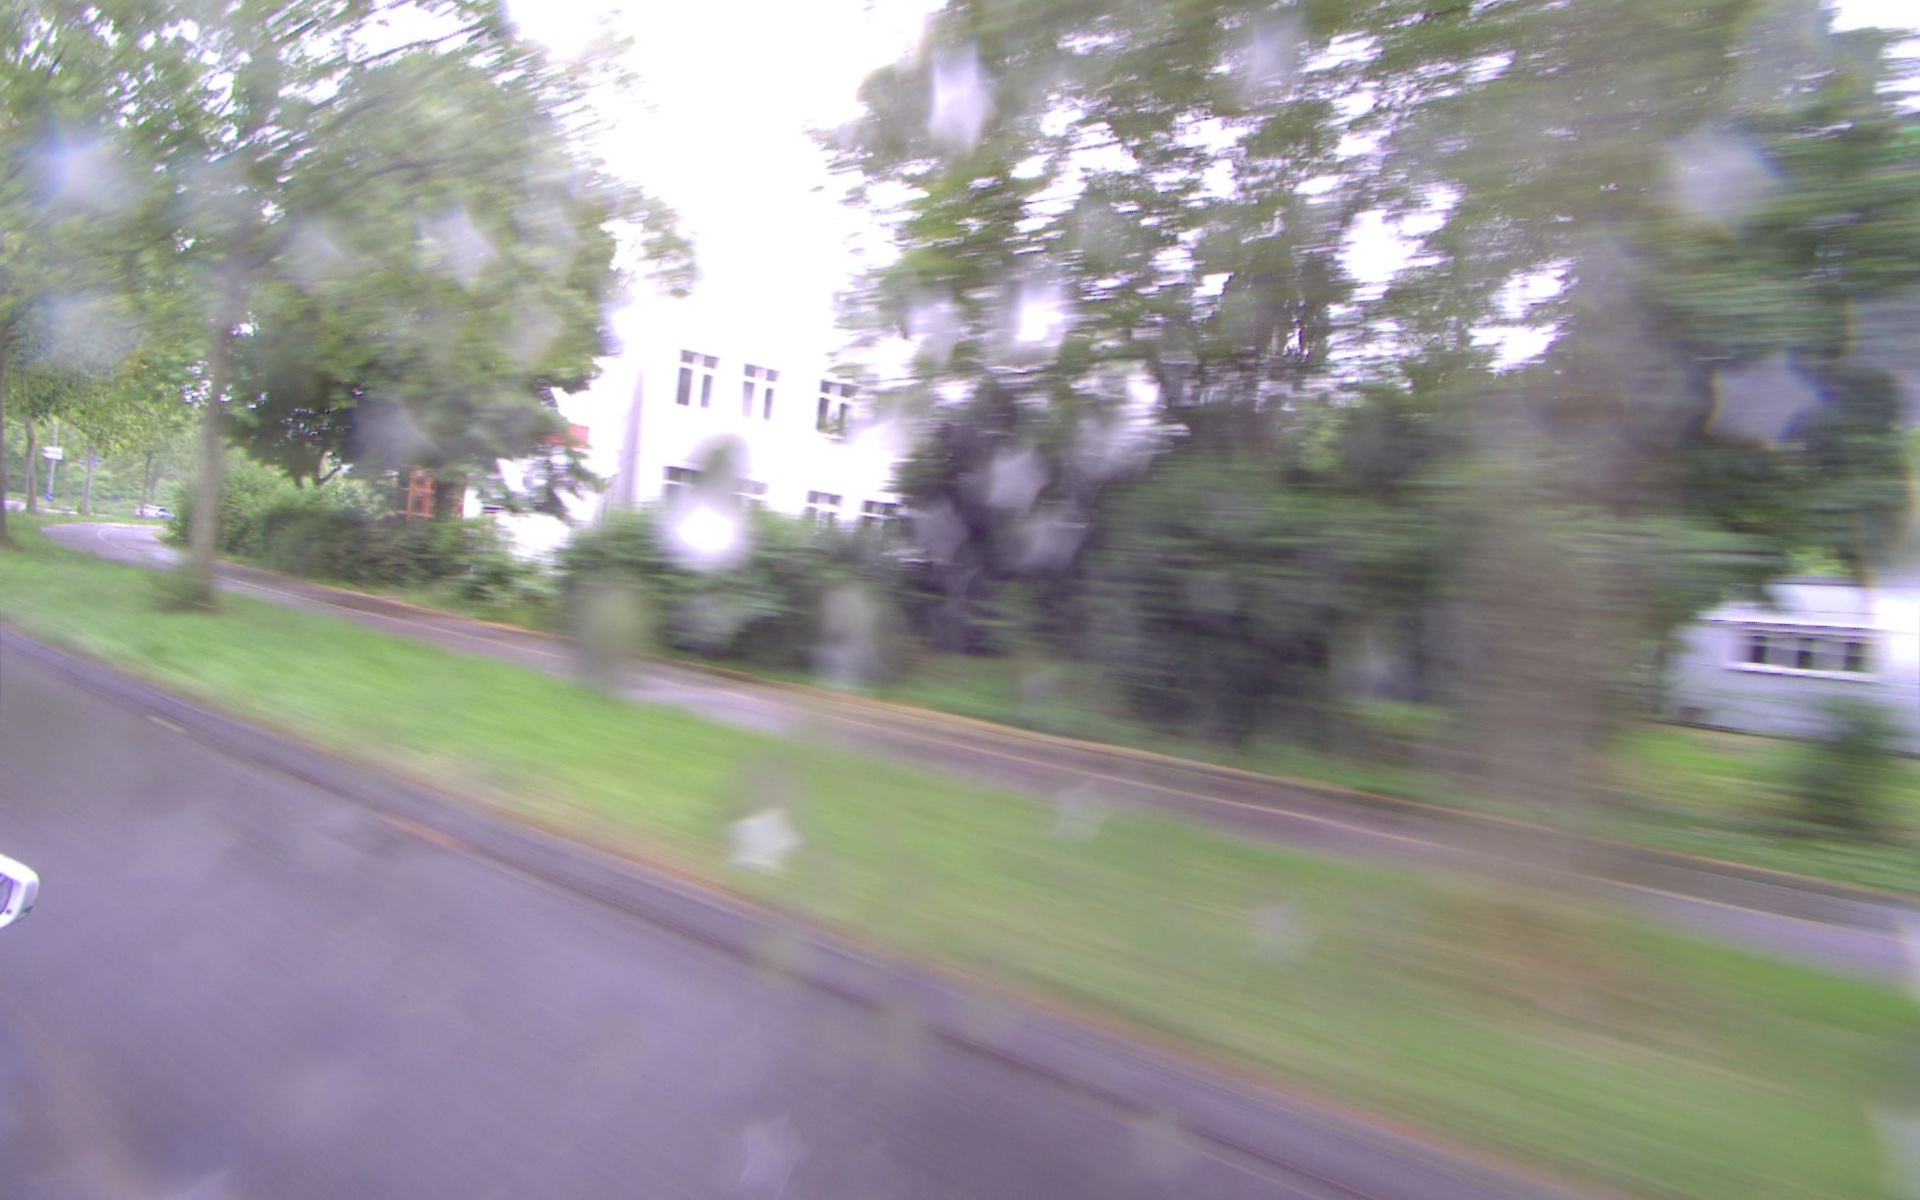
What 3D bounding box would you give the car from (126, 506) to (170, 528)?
[{"bbox_3d":[-76.910,-7.853,95.340,1.760,1.574,3.983,9,0,-19],"label":"car"}]
